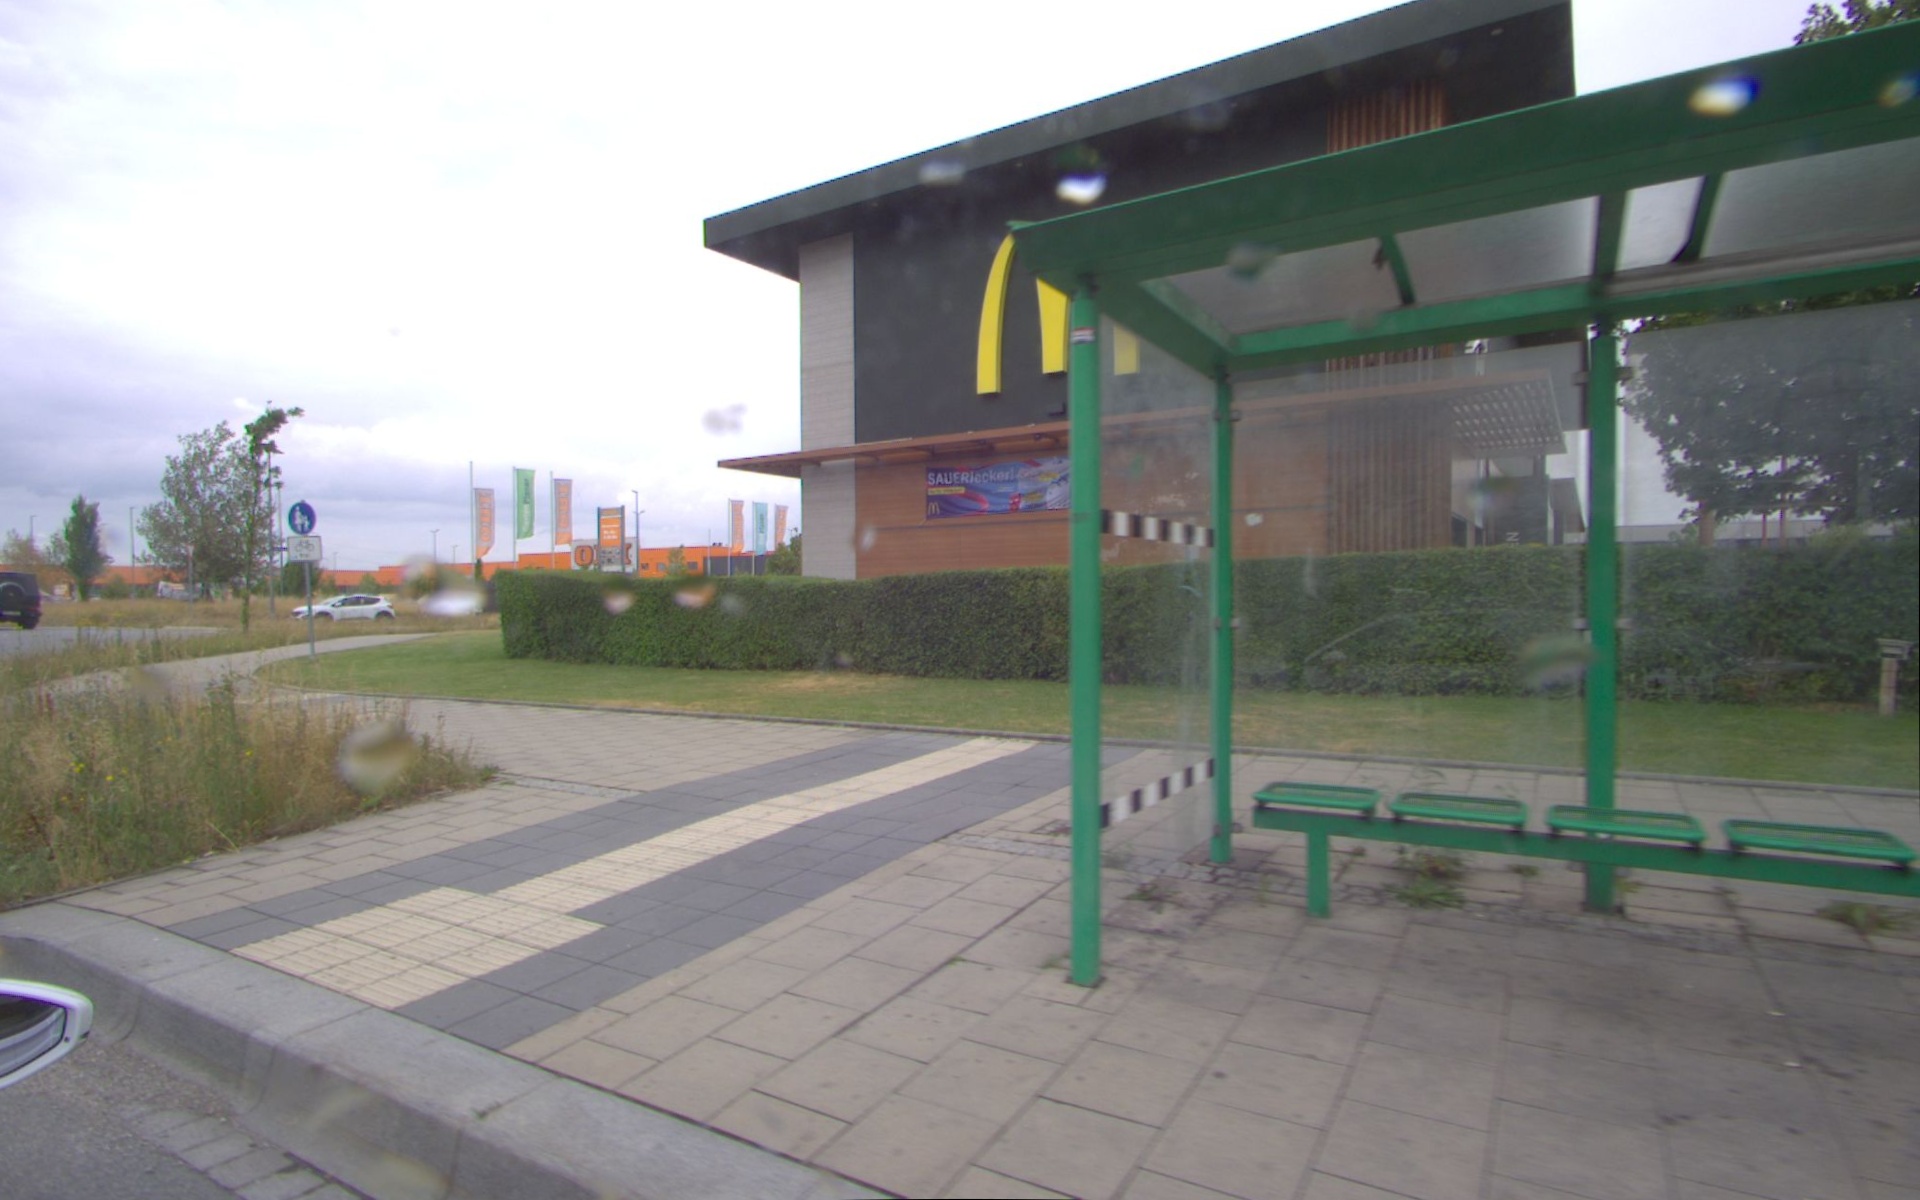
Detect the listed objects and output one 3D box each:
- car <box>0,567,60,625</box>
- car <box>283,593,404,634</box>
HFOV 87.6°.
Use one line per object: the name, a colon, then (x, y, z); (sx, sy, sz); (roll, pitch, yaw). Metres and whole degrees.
car: (-34.007, -0.194, 35.117); (4.697, 1.913, 2.076); (2, 2, 27)
car: (-27.963, 0.566, 45.552); (1.844, 1.671, 4.313); (3, 2, 34)
